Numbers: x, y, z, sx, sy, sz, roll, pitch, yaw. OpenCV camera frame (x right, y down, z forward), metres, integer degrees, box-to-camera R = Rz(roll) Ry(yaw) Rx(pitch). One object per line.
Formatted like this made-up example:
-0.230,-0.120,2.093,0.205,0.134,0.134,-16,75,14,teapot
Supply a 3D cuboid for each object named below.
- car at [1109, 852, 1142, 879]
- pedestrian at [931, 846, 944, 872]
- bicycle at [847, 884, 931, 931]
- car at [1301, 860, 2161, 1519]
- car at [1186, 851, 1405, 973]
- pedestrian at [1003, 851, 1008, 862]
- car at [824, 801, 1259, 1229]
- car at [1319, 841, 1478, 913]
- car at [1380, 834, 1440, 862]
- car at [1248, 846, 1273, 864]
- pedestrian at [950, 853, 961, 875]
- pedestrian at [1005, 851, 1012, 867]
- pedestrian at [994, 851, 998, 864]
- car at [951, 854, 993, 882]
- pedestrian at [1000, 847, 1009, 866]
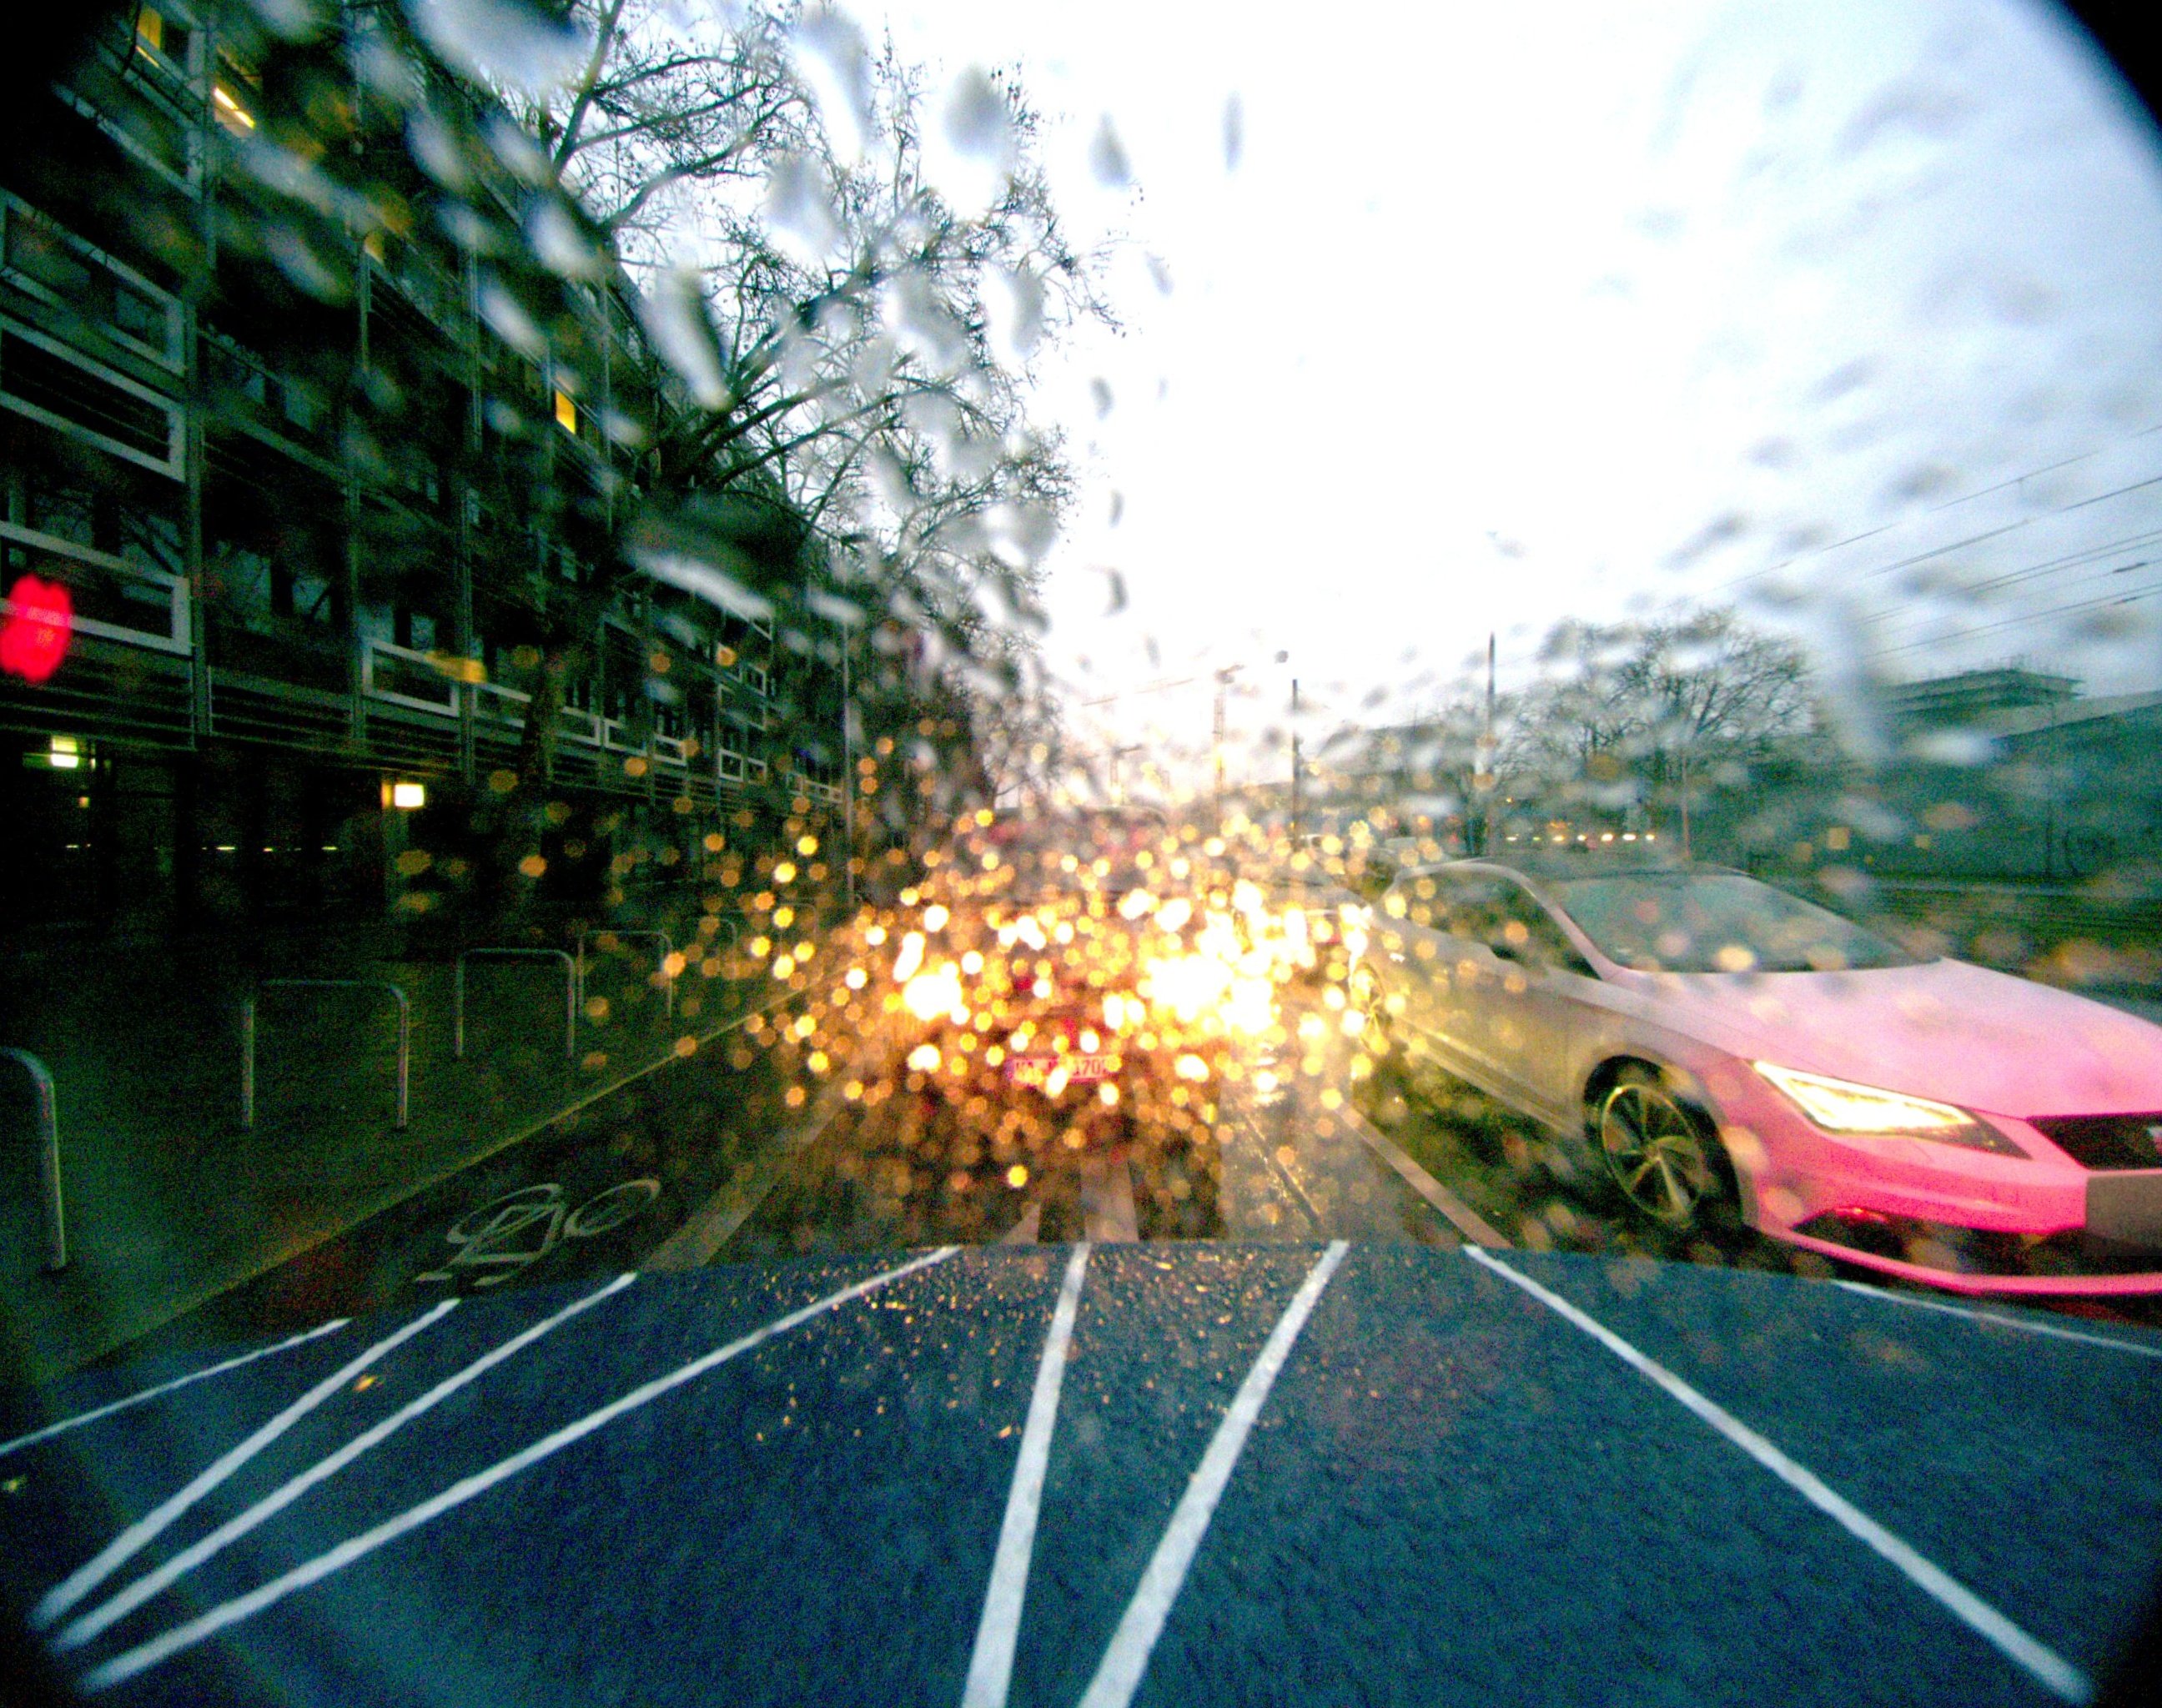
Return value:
2.829,0.720,49.428,1.907,1.565,3.999,-2,1,1,car
-12.376,0.423,65.533,1.062,2.182,1.110,-2,1,-11,pedestrian
-4.430,1.222,17.655,1.704,0.987,0.879,1,1,0,bicycle
2.983,0.839,4.160,1.949,1.478,4.504,-2,0,-4,car
2.946,0.701,11.576,1.999,1.478,4.505,-1,0,-1,car
-11.772,0.352,118.311,0.766,1.740,0.928,0,1,-4,pedestrian
-0.258,0.695,5.402,1.878,1.830,3.998,-2,1,-3,car
7.494,0.466,18.522,1.853,1.499,4.662,-1,1,-1,car
22.934,-0.395,53.113,2.095,1.884,3.997,-1,1,-7,car
20.808,0.073,88.136,1.998,2.002,3.999,-2,1,1,car
-10.205,0.796,61.805,0.766,1.740,0.928,0,1,-4,pedestrian
-8.325,0.562,87.577,0.766,1.740,0.928,0,1,-4,pedestrian
-11.773,0.501,105.080,0.585,1.740,0.668,0,1,-4,pedestrian
-6.151,0.774,43.377,1.713,1.455,3.999,-2,1,1,car
-6.851,0.235,68.187,0.766,1.740,0.928,0,1,-4,pedestrian
